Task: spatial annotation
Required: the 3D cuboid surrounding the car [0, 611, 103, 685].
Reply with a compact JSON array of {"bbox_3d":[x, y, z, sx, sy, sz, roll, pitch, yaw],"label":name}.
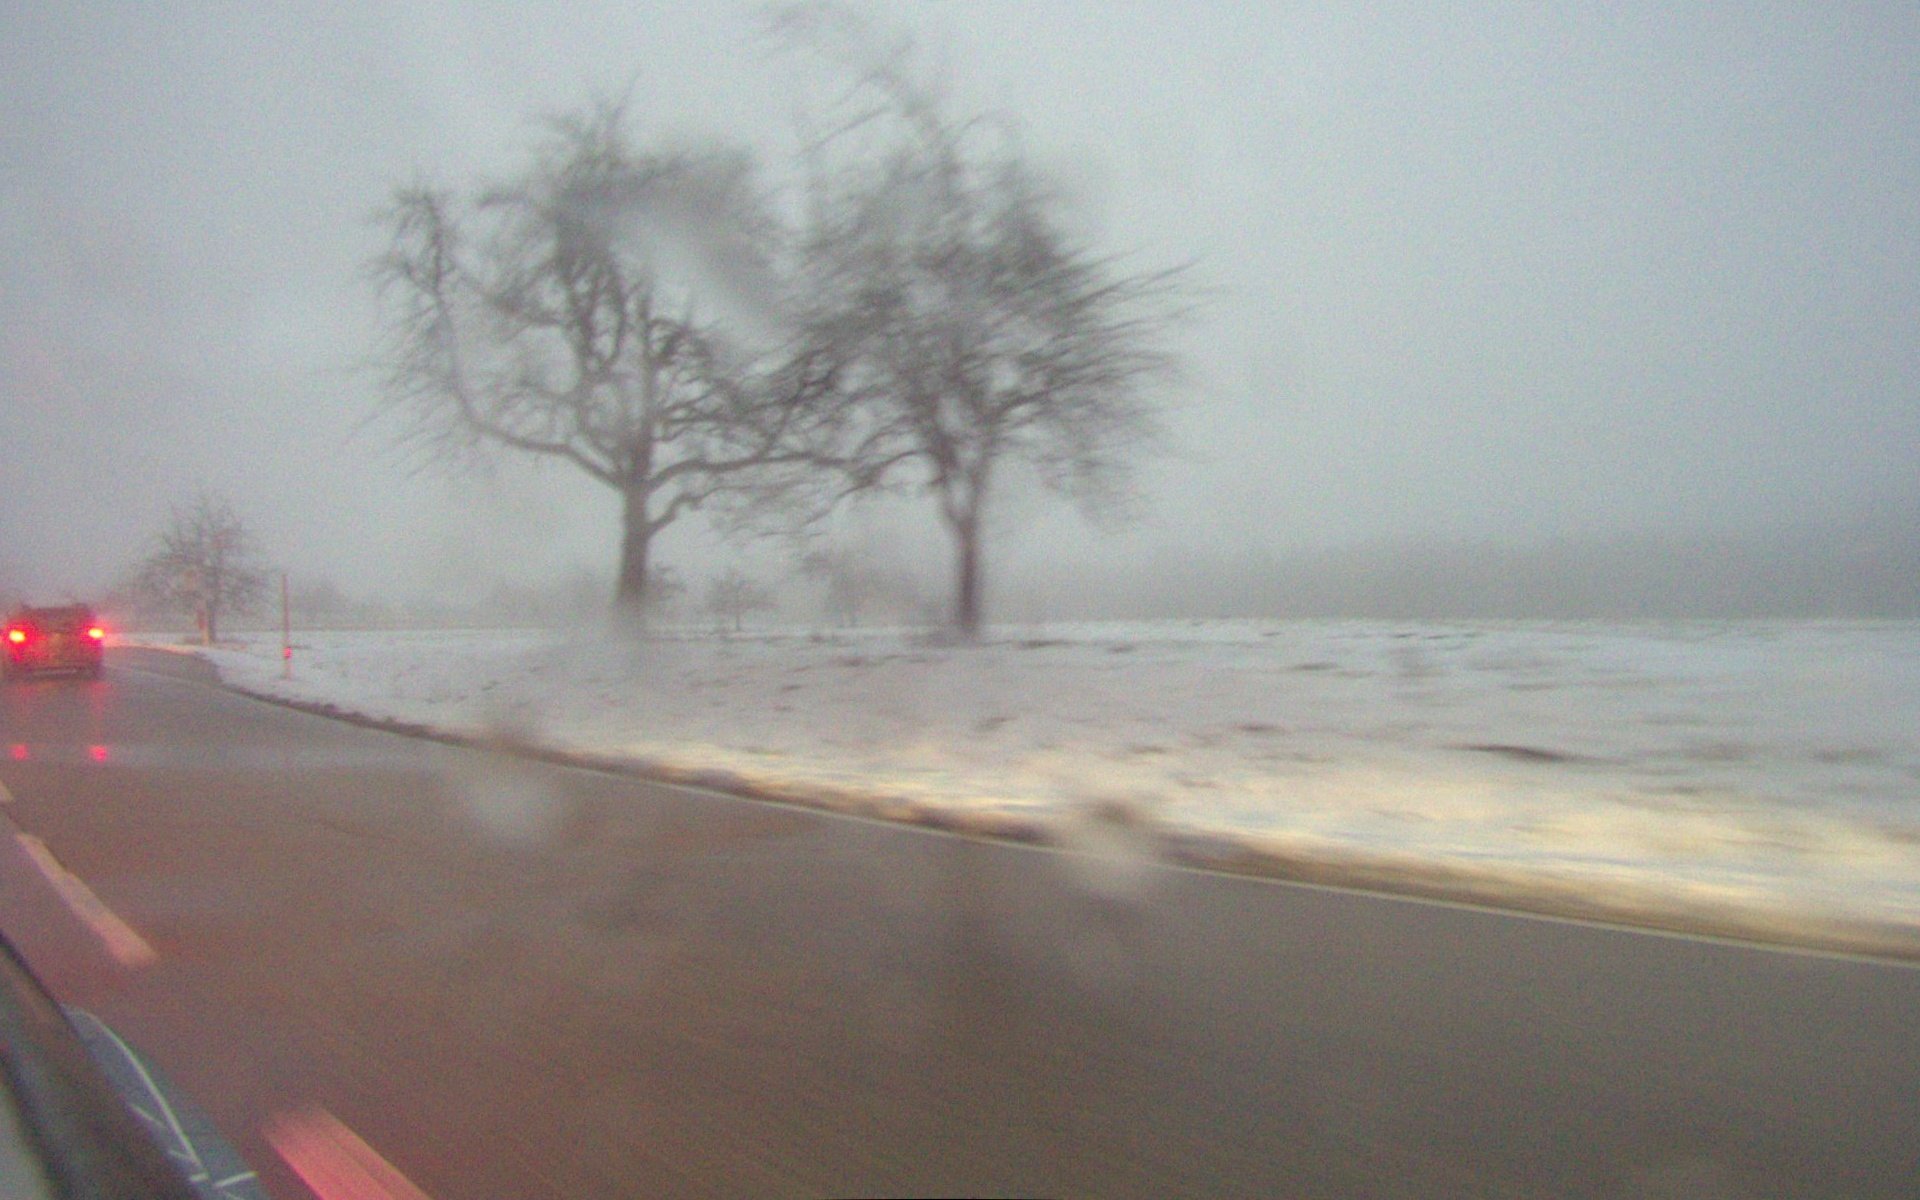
[{"bbox_3d":[-23.513,1.193,26.119,4.427,1.706,1.732,-2,-1,44],"label":"car"}]
